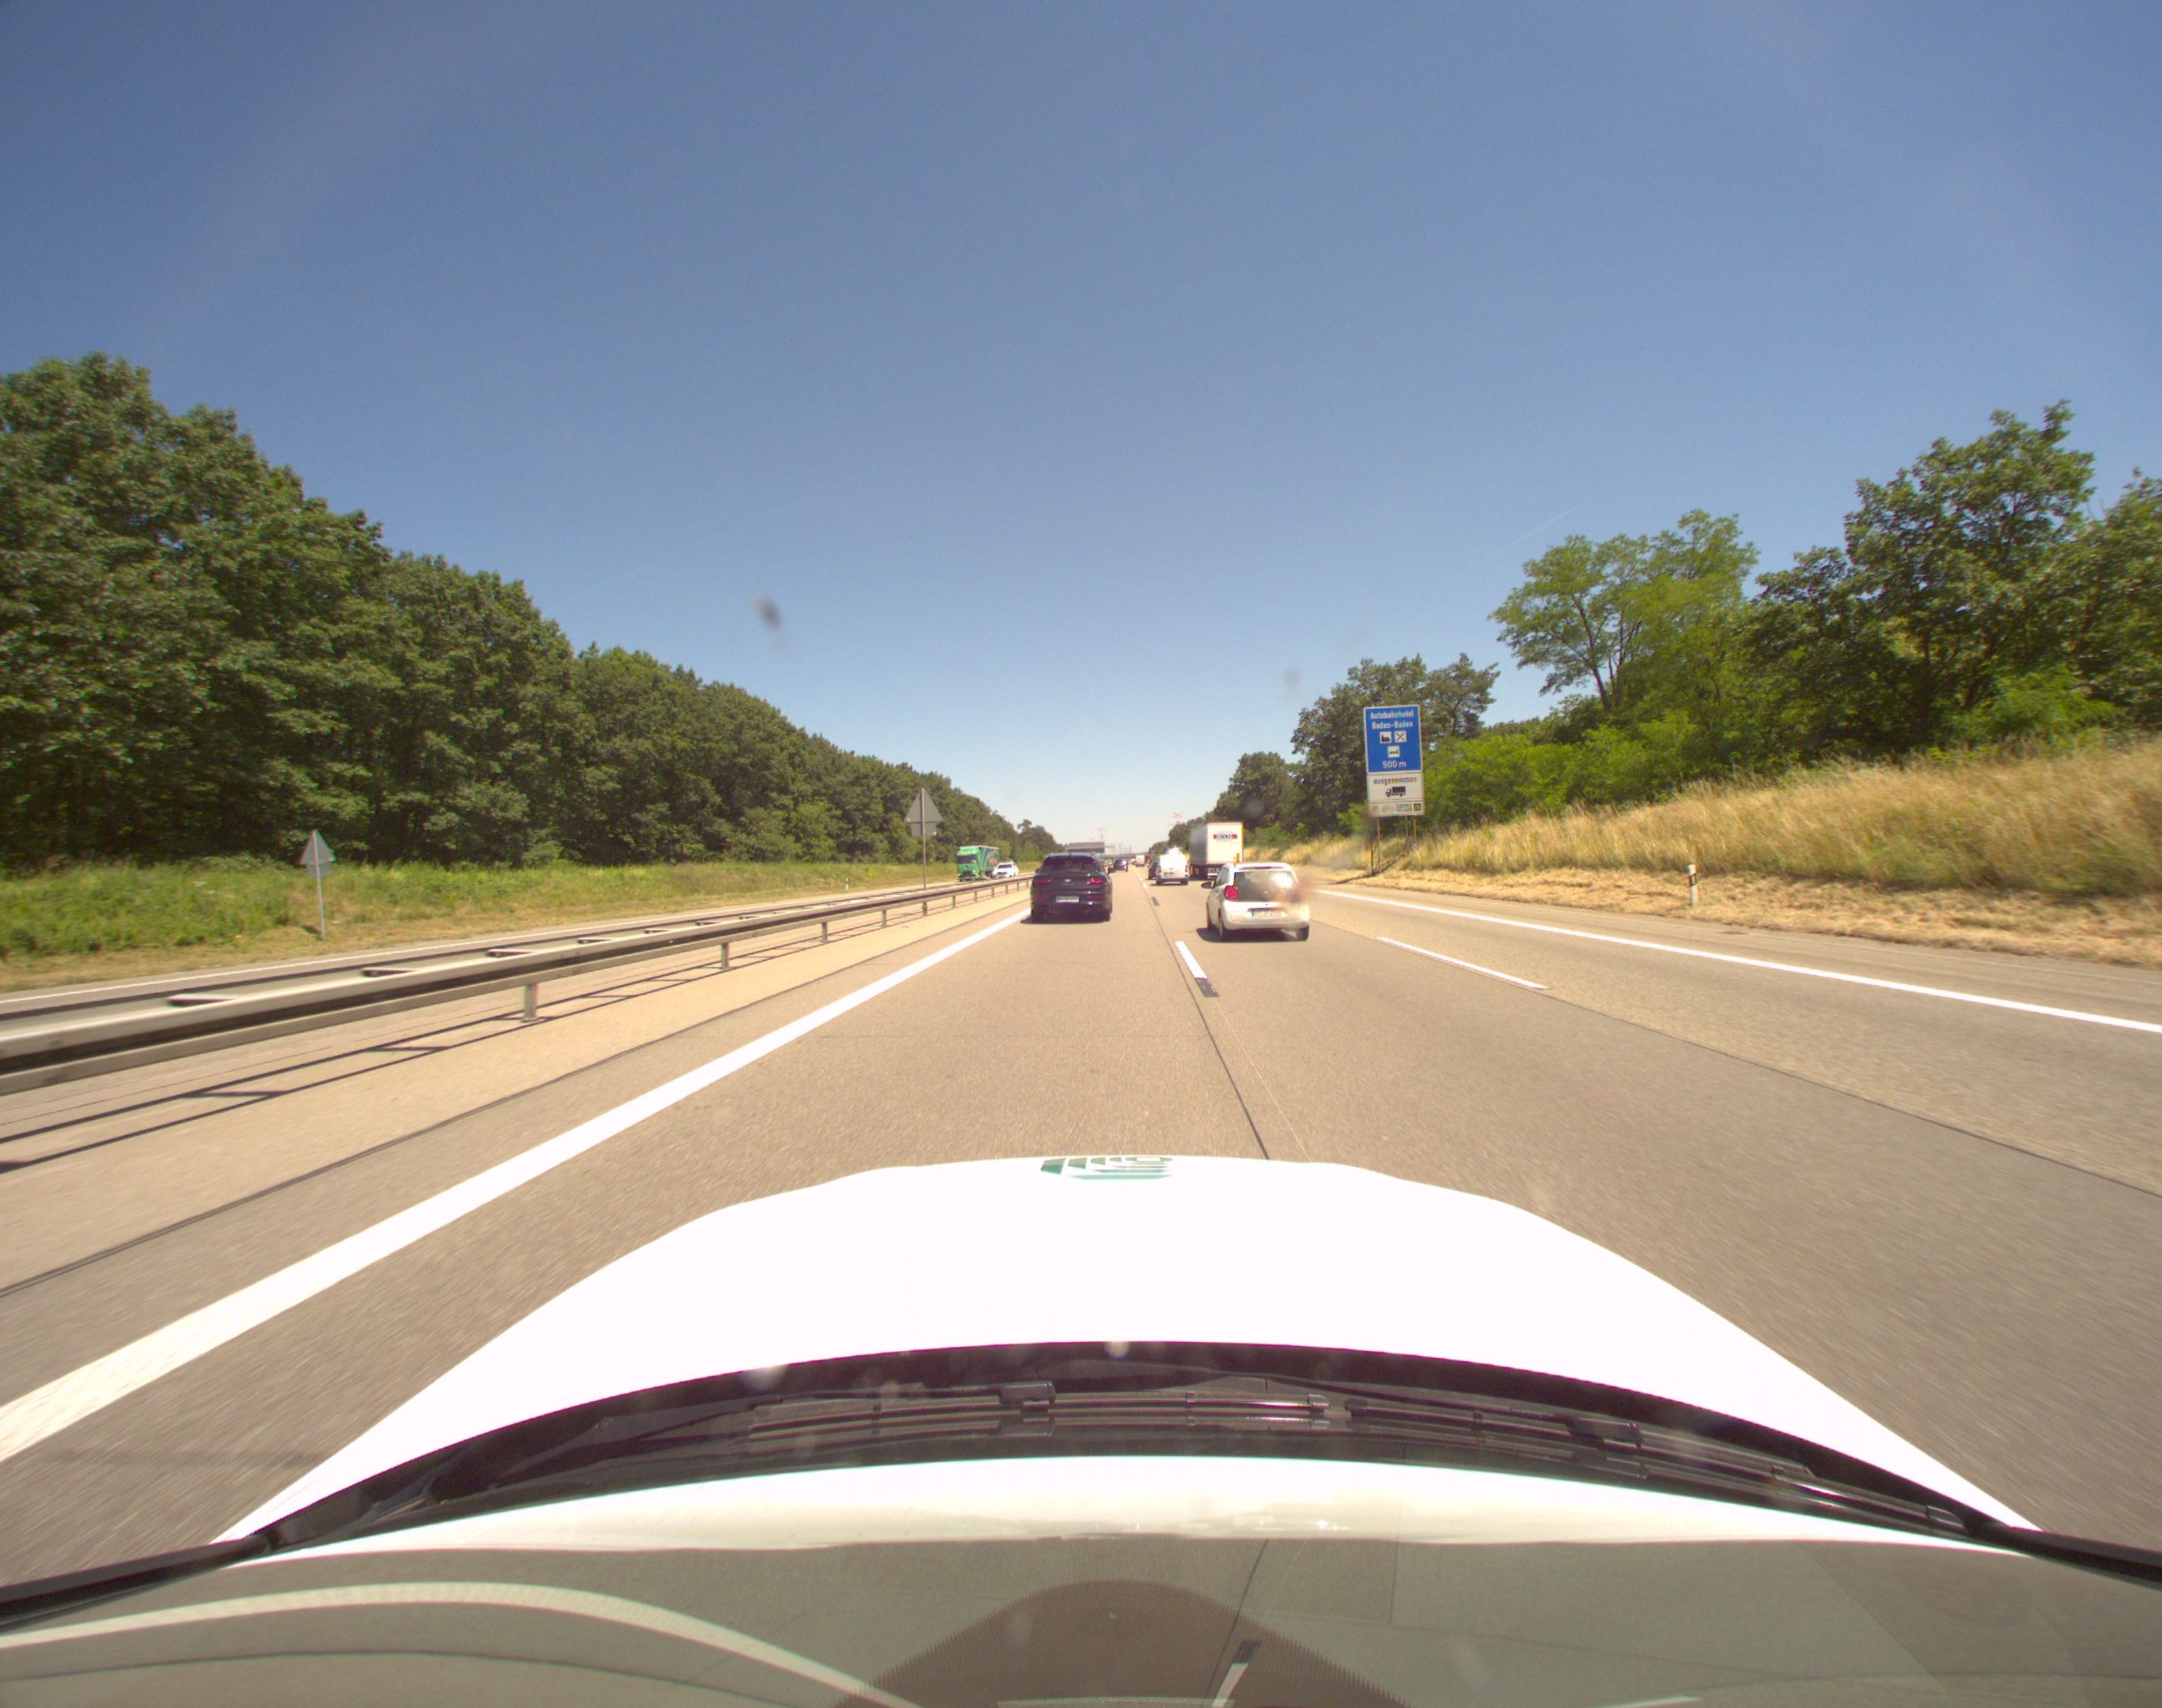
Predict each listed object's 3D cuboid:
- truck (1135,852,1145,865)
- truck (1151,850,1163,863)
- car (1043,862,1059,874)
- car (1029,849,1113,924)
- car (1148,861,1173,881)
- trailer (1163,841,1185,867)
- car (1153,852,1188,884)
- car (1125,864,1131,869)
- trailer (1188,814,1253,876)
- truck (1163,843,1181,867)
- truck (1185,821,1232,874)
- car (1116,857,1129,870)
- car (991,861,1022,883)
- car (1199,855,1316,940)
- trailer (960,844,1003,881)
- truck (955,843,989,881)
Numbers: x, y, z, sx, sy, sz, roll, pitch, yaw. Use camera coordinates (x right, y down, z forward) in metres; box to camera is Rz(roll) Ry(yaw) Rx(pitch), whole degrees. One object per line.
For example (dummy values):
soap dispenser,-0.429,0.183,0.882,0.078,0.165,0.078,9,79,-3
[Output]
truck,13.616,1.027,187.198,2.052,2.914,7.008,-2,-1,3
truck,21.839,0.688,234.170,2.977,3.729,10.096,0,-1,3
car,-3.975,1.829,107.880,1.648,1.500,4.604,-4,-1,3
car,-0.120,0.764,22.188,1.933,1.752,5.817,-1,0,3
car,6.167,1.275,63.318,1.767,1.472,3.875,-2,-1,3
trailer,14.524,0.099,127.830,2.671,3.837,12.018,0,-1,3
car,5.384,0.843,49.437,1.807,1.827,5.114,-2,-1,3
car,13.787,3.718,238.638,1.600,1.300,3.677,-1,0,3
trailer,10.343,-0.543,62.059,3.272,4.219,13.574,0,-1,3
truck,14.824,0.152,133.521,2.672,3.837,4.447,0,-1,3
truck,10.684,-0.507,68.638,3.272,4.219,6.012,0,-1,3
car,5.516,1.253,107.901,1.619,1.755,3.808,-1,0,3
car,-6.785,1.596,75.058,1.946,1.792,5.567,-4,0,3
car,3.423,0.787,16.494,1.701,1.495,4.027,-1,0,3
trailer,-12.558,1.031,104.135,2.693,4.161,14.349,-4,-1,3
truck,-12.946,0.976,97.226,2.689,4.161,6.301,-4,-1,3
